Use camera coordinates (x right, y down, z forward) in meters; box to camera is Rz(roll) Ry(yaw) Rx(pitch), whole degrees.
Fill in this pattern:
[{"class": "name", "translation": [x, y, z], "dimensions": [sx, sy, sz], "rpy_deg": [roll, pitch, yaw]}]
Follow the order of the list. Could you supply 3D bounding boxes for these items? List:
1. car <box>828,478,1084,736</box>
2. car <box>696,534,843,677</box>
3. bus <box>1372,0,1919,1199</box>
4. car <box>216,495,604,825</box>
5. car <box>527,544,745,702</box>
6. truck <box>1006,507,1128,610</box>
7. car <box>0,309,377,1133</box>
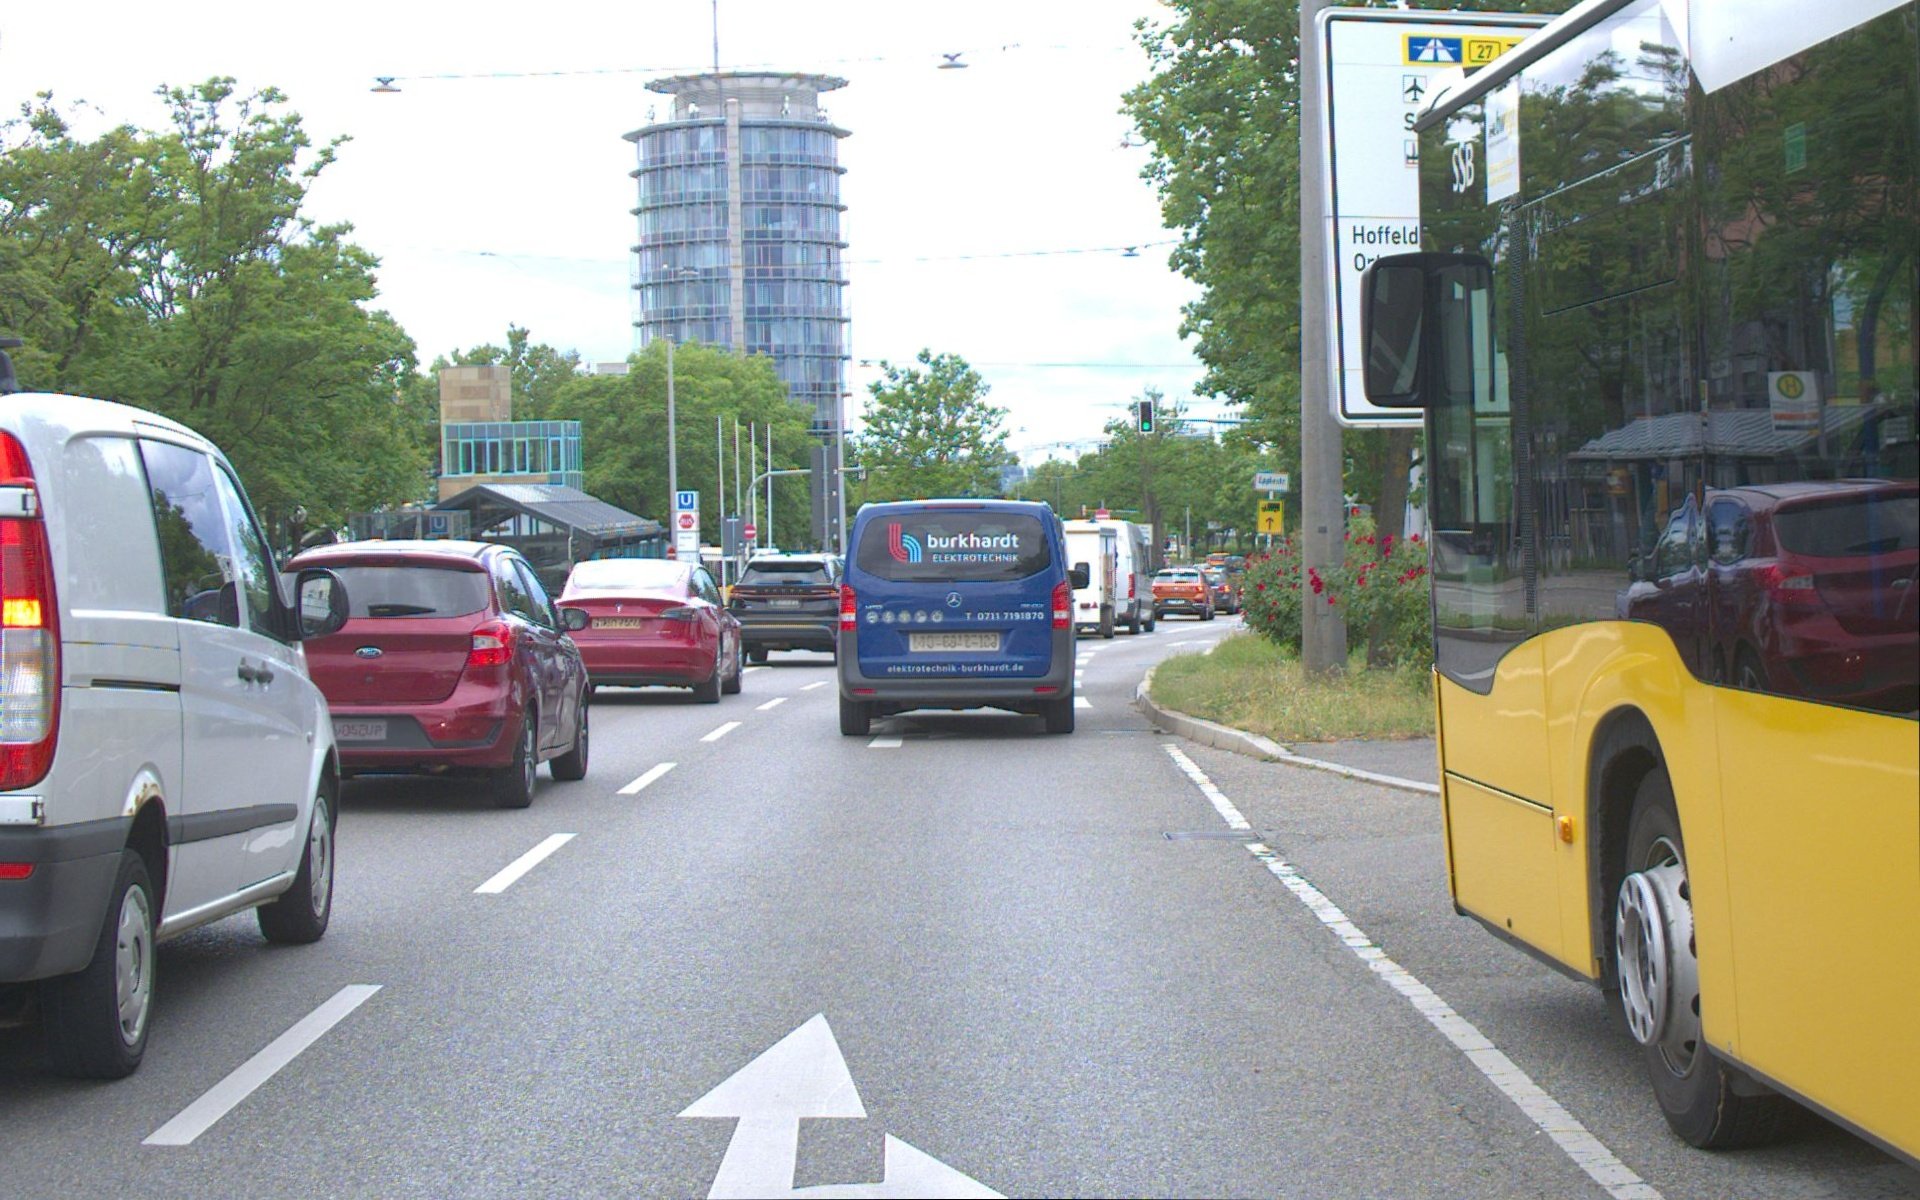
[{"class": "car", "translation": [-0.044, 0.038, 28.629], "dimensions": [1.948, 1.959, 4.541], "rpy_deg": [0, 0, 0]}, {"class": "car", "translation": [-2.783, 0.037, 51.008], "dimensions": [1.993, 2.007, 4.000], "rpy_deg": [0, 1, 0]}, {"class": "bus", "translation": [2.988, -0.262, 6.631], "dimensions": [2.712, 3.153, 9.129], "rpy_deg": [-2, 2, -3]}, {"class": "car", "translation": [-3.187, 0.318, 20.633], "dimensions": [1.746, 1.718, 4.000], "rpy_deg": [-2, 0, -2]}, {"class": "car", "translation": [-3.270, 0.217, 35.341], "dimensions": [1.868, 1.481, 4.000], "rpy_deg": [-1, 0, -1]}, {"class": "truck", "translation": [2.386, -0.910, 75.258], "dimensions": [1.994, 2.158, 5.557], "rpy_deg": [1, 1, 9]}, {"class": "car", "translation": [-3.157, 0.246, 10.881], "dimensions": [1.873, 2.007, 5.076], "rpy_deg": [0, 1, -1]}]
